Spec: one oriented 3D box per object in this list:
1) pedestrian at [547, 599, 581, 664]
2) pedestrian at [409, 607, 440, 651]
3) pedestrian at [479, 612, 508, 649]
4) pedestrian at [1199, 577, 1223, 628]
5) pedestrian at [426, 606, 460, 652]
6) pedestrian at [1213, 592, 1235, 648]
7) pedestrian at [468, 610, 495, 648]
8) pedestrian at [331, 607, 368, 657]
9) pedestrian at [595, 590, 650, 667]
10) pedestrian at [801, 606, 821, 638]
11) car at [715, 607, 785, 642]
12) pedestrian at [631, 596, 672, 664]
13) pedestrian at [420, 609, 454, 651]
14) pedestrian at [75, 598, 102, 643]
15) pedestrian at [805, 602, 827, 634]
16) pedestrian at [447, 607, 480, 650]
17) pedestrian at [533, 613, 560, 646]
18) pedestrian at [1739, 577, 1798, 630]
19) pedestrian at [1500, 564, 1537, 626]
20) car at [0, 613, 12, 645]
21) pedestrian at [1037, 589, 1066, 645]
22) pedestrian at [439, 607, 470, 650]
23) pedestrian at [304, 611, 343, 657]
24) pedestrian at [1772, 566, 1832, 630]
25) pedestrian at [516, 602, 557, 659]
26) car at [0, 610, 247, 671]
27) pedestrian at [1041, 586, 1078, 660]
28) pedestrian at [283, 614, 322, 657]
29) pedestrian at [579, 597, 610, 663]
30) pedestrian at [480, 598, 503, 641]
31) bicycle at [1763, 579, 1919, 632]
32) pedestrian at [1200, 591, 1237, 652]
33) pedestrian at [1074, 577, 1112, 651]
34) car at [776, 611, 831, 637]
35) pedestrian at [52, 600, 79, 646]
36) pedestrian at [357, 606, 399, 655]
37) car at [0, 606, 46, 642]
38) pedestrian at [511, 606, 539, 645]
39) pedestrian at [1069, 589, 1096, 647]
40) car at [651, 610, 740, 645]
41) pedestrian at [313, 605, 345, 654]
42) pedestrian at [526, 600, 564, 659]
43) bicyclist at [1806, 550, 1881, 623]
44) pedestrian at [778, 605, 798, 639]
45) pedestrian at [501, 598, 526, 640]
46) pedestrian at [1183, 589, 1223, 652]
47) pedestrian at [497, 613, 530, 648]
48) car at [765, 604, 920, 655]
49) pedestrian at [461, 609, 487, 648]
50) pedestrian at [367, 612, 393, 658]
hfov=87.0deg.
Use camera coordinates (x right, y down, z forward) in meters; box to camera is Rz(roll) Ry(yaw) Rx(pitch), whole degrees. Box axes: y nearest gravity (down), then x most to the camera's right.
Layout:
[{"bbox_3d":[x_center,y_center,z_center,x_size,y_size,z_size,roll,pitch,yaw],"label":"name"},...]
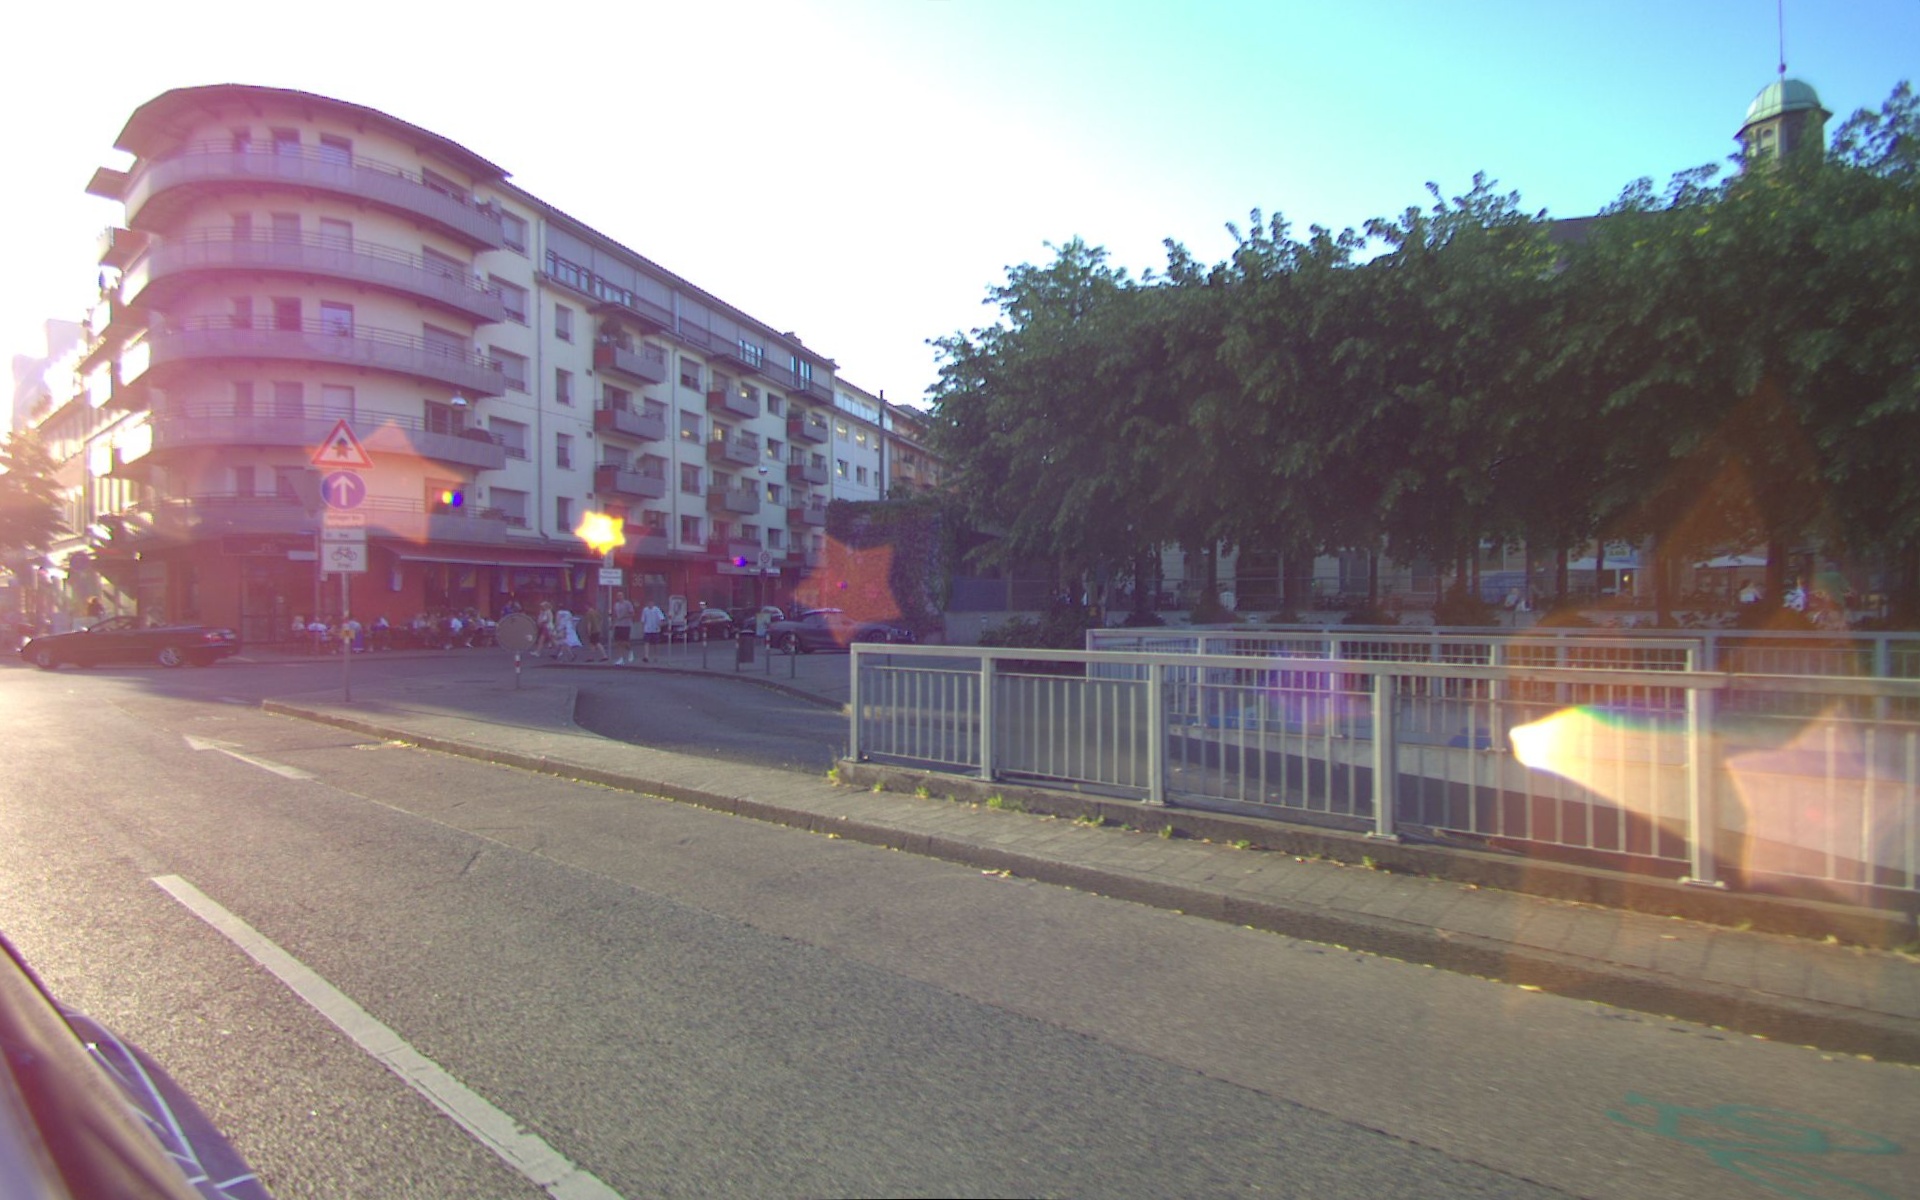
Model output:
[{"bbox_3d":[-11.481,0.905,29.383,0.703,1.816,0.884,-1,-1,-7],"label":"pedestrian"},{"bbox_3d":[-19.199,1.036,36.296,0.669,1.547,0.651,2,0,15],"label":"pedestrian"},{"bbox_3d":[-17.540,1.153,38.074,0.649,1.355,0.746,2,0,14],"label":"pedestrian"},{"bbox_3d":[10.274,0.107,41.422,0.827,2.029,1.059,-1,0,20],"label":"pedestrian"},{"bbox_3d":[-18.339,1.021,35.919,0.707,1.547,0.756,3,0,13],"label":"pedestrian"},{"bbox_3d":[8.278,0.628,31.740,0.617,1.740,0.799,-1,-1,16],"label":"pedestrian"},{"bbox_3d":[-18.526,1.115,39.152,0.708,1.432,0.599,-2,-1,16],"label":"pedestrian"},{"bbox_3d":[-19.607,1.026,32.509,0.712,1.548,0.681,0,-5,34],"label":"pedestrian"},{"bbox_3d":[-8.577,0.714,25.738,0.977,1.898,0.884,-2,-1,19],"label":"pedestrian"},{"bbox_3d":[-8.303,1.222,56.466,0.911,1.740,0.700,-1,-1,13],"label":"pedestrian"},{"bbox_3d":[-10.950,1.265,53.040,1.869,1.712,4.114,-2,-1,17],"label":"car"},{"bbox_3d":[-8.410,0.805,27.588,0.969,1.807,0.892,-1,-1,-12],"label":"pedestrian"},{"bbox_3d":[-19.110,1.085,36.995,0.762,1.515,0.779,-1,-1,15],"label":"pedestrian"},{"bbox_3d":[-38.059,0.891,44.190,0.803,1.963,0.722,-1,0,35],"label":"pedestrian"},{"bbox_3d":[-7.877,0.984,55.416,0.830,1.740,0.911,-1,-1,30],"label":"pedestrian"},{"bbox_3d":[-18.426,1.055,37.581,0.845,1.547,0.677,-2,-1,14],"label":"pedestrian"},{"bbox_3d":[-16.832,1.189,41.226,0.840,1.287,0.715,0,2,-5],"label":"pedestrian"},{"bbox_3d":[21.671,0.088,27.146,0.730,1.390,1.262,-1,-1,13],"label":"pedestrian"},{"bbox_3d":[16.163,-0.141,29.303,0.696,1.740,0.916,-1,-1,16],"label":"pedestrian"},{"bbox_3d":[-45.222,1.336,45.220,1.997,1.431,3.950,-1,-1,37],"label":"car"},{"bbox_3d":[3.018,0.548,33.259,0.756,1.795,0.793,-1,0,19],"label":"pedestrian"},{"bbox_3d":[-18.347,1.030,36.720,0.644,1.539,0.697,3,0,13],"label":"pedestrian"},{"bbox_3d":[-19.748,1.058,31.430,0.758,1.392,0.841,0,0,-9],"label":"pedestrian"},{"bbox_3d":[22.377,-0.039,26.923,0.701,1.660,1.262,-1,-1,14],"label":"pedestrian"},{"bbox_3d":[-13.713,0.989,32.747,0.845,1.807,0.863,-2,-1,19],"label":"pedestrian"},{"bbox_3d":[-21.024,0.975,25.645,4.537,1.418,1.816,0,1,-20],"label":"car"},{"bbox_3d":[2.419,0.568,24.660,0.676,1.759,0.718,-1,-1,-12],"label":"pedestrian"},{"bbox_3d":[-20.526,1.100,31.596,0.675,1.291,0.970,0,1,-8],"label":"pedestrian"},{"bbox_3d":[-10.839,0.882,30.008,0.837,1.891,0.717,-1,-1,-21],"label":"pedestrian"},{"bbox_3d":[-19.395,0.797,41.856,0.606,1.752,0.614,-1,-1,16],"label":"pedestrian"},{"bbox_3d":[18.939,0.128,21.829,2.311,1.110,0.946,-1,-1,20],"label":"bicycle"},{"bbox_3d":[6.802,0.561,26.632,0.668,1.554,0.594,-1,-1,-23],"label":"pedestrian"},{"bbox_3d":[3.491,0.364,26.438,0.880,1.867,0.981,-2,-1,11],"label":"pedestrian"},{"bbox_3d":[-9.172,1.397,59.566,1.737,1.414,3.948,-2,-1,15],"label":"car"},{"bbox_3d":[-38.435,0.970,43.495,0.739,1.963,0.722,-1,0,35],"label":"pedestrian"},{"bbox_3d":[-19.057,0.987,33.146,0.709,1.547,0.848,4,1,18],"label":"pedestrian"},{"bbox_3d":[-43.073,1.070,44.259,1.816,1.553,4.386,-1,-1,39],"label":"car"},{"bbox_3d":[-17.693,1.018,41.162,0.840,1.547,0.715,-1,-1,-5],"label":"pedestrian"},{"bbox_3d":[4.002,0.586,33.068,0.696,1.833,1.117,-1,-1,16],"label":"pedestrian"},{"bbox_3d":[-12.452,1.271,47.924,1.865,1.564,4.602,-2,-1,19],"label":"car"},{"bbox_3d":[-20.668,0.957,33.159,0.702,1.547,0.855,-1,-1,-18],"label":"pedestrian"},{"bbox_3d":[-13.073,0.920,31.918,0.806,1.807,0.732,-2,-1,19],"label":"pedestrian"},{"bbox_3d":[19.033,-0.277,21.823,0.747,1.521,1.372,-1,-1,20],"label":"bicyclist"},{"bbox_3d":[-9.636,1.235,56.646,0.991,1.841,0.948,-1,-1,-11],"label":"pedestrian"},{"bbox_3d":[-18.963,0.803,43.005,0.712,1.734,0.665,-1,-1,16],"label":"pedestrian"},{"bbox_3d":[6.298,0.531,26.214,0.787,1.594,0.730,-2,-1,-1],"label":"pedestrian"},{"bbox_3d":[-17.284,1.160,39.154,0.877,1.315,0.842,1,1,37],"label":"pedestrian"},{"bbox_3d":[-3.654,0.934,31.858,4.402,1.441,2.099,-2,-1,11],"label":"car"},{"bbox_3d":[-18.352,1.083,38.240,0.661,1.445,0.558,1,0,15],"label":"pedestrian"},{"bbox_3d":[-19.885,1.197,34.711,0.638,1.547,0.754,-1,-2,-40],"label":"pedestrian"}]
